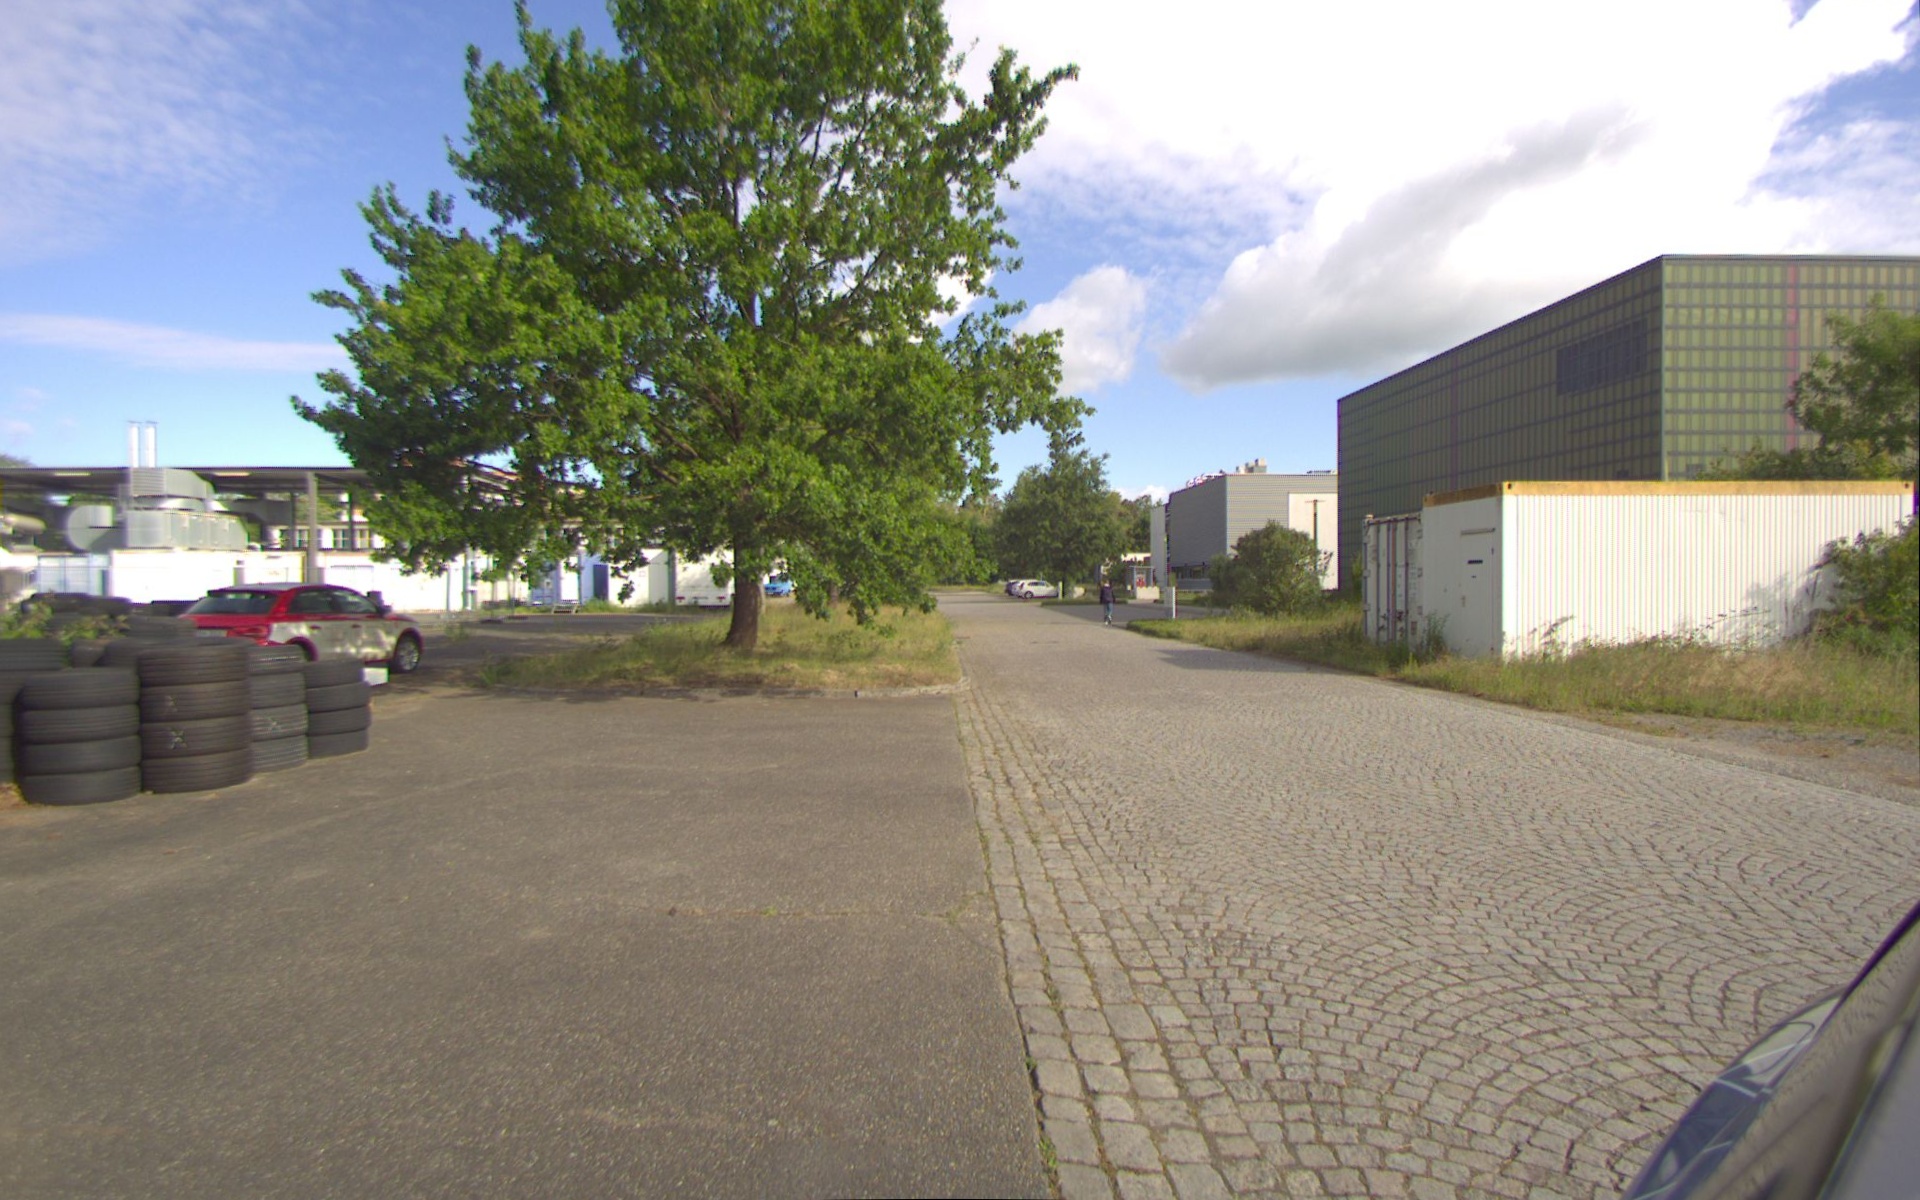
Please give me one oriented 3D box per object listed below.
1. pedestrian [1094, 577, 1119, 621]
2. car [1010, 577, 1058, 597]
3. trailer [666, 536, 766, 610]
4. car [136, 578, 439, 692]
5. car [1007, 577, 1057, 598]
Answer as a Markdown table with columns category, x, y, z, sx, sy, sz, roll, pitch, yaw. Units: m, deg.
| category | x | y | z | sx | sy | sz | roll | pitch | yaw |
| --- | --- | --- | --- | --- | --- | --- | --- | --- | --- |
| pedestrian | 5.246 | -0.046 | 36.224 | 0.853 | 1.578 | 1.025 | 0 | 1 | 9 |
| car | 6.093 | -1.073 | 83.923 | 3.928 | 1.663 | 1.998 | 0 | 1 | 4 |
| trailer | -12.558 | -1.387 | 53.163 | 2.871 | 3.514 | 9.902 | 0 | 1 | 0 |
| car | -9.803 | 0.418 | 15.184 | 1.697 | 1.482 | 3.996 | 0 | 1 | 5 |
| car | 5.771 | -1.002 | 81.241 | 3.928 | 1.663 | 1.998 | 0 | 1 | 4 |
